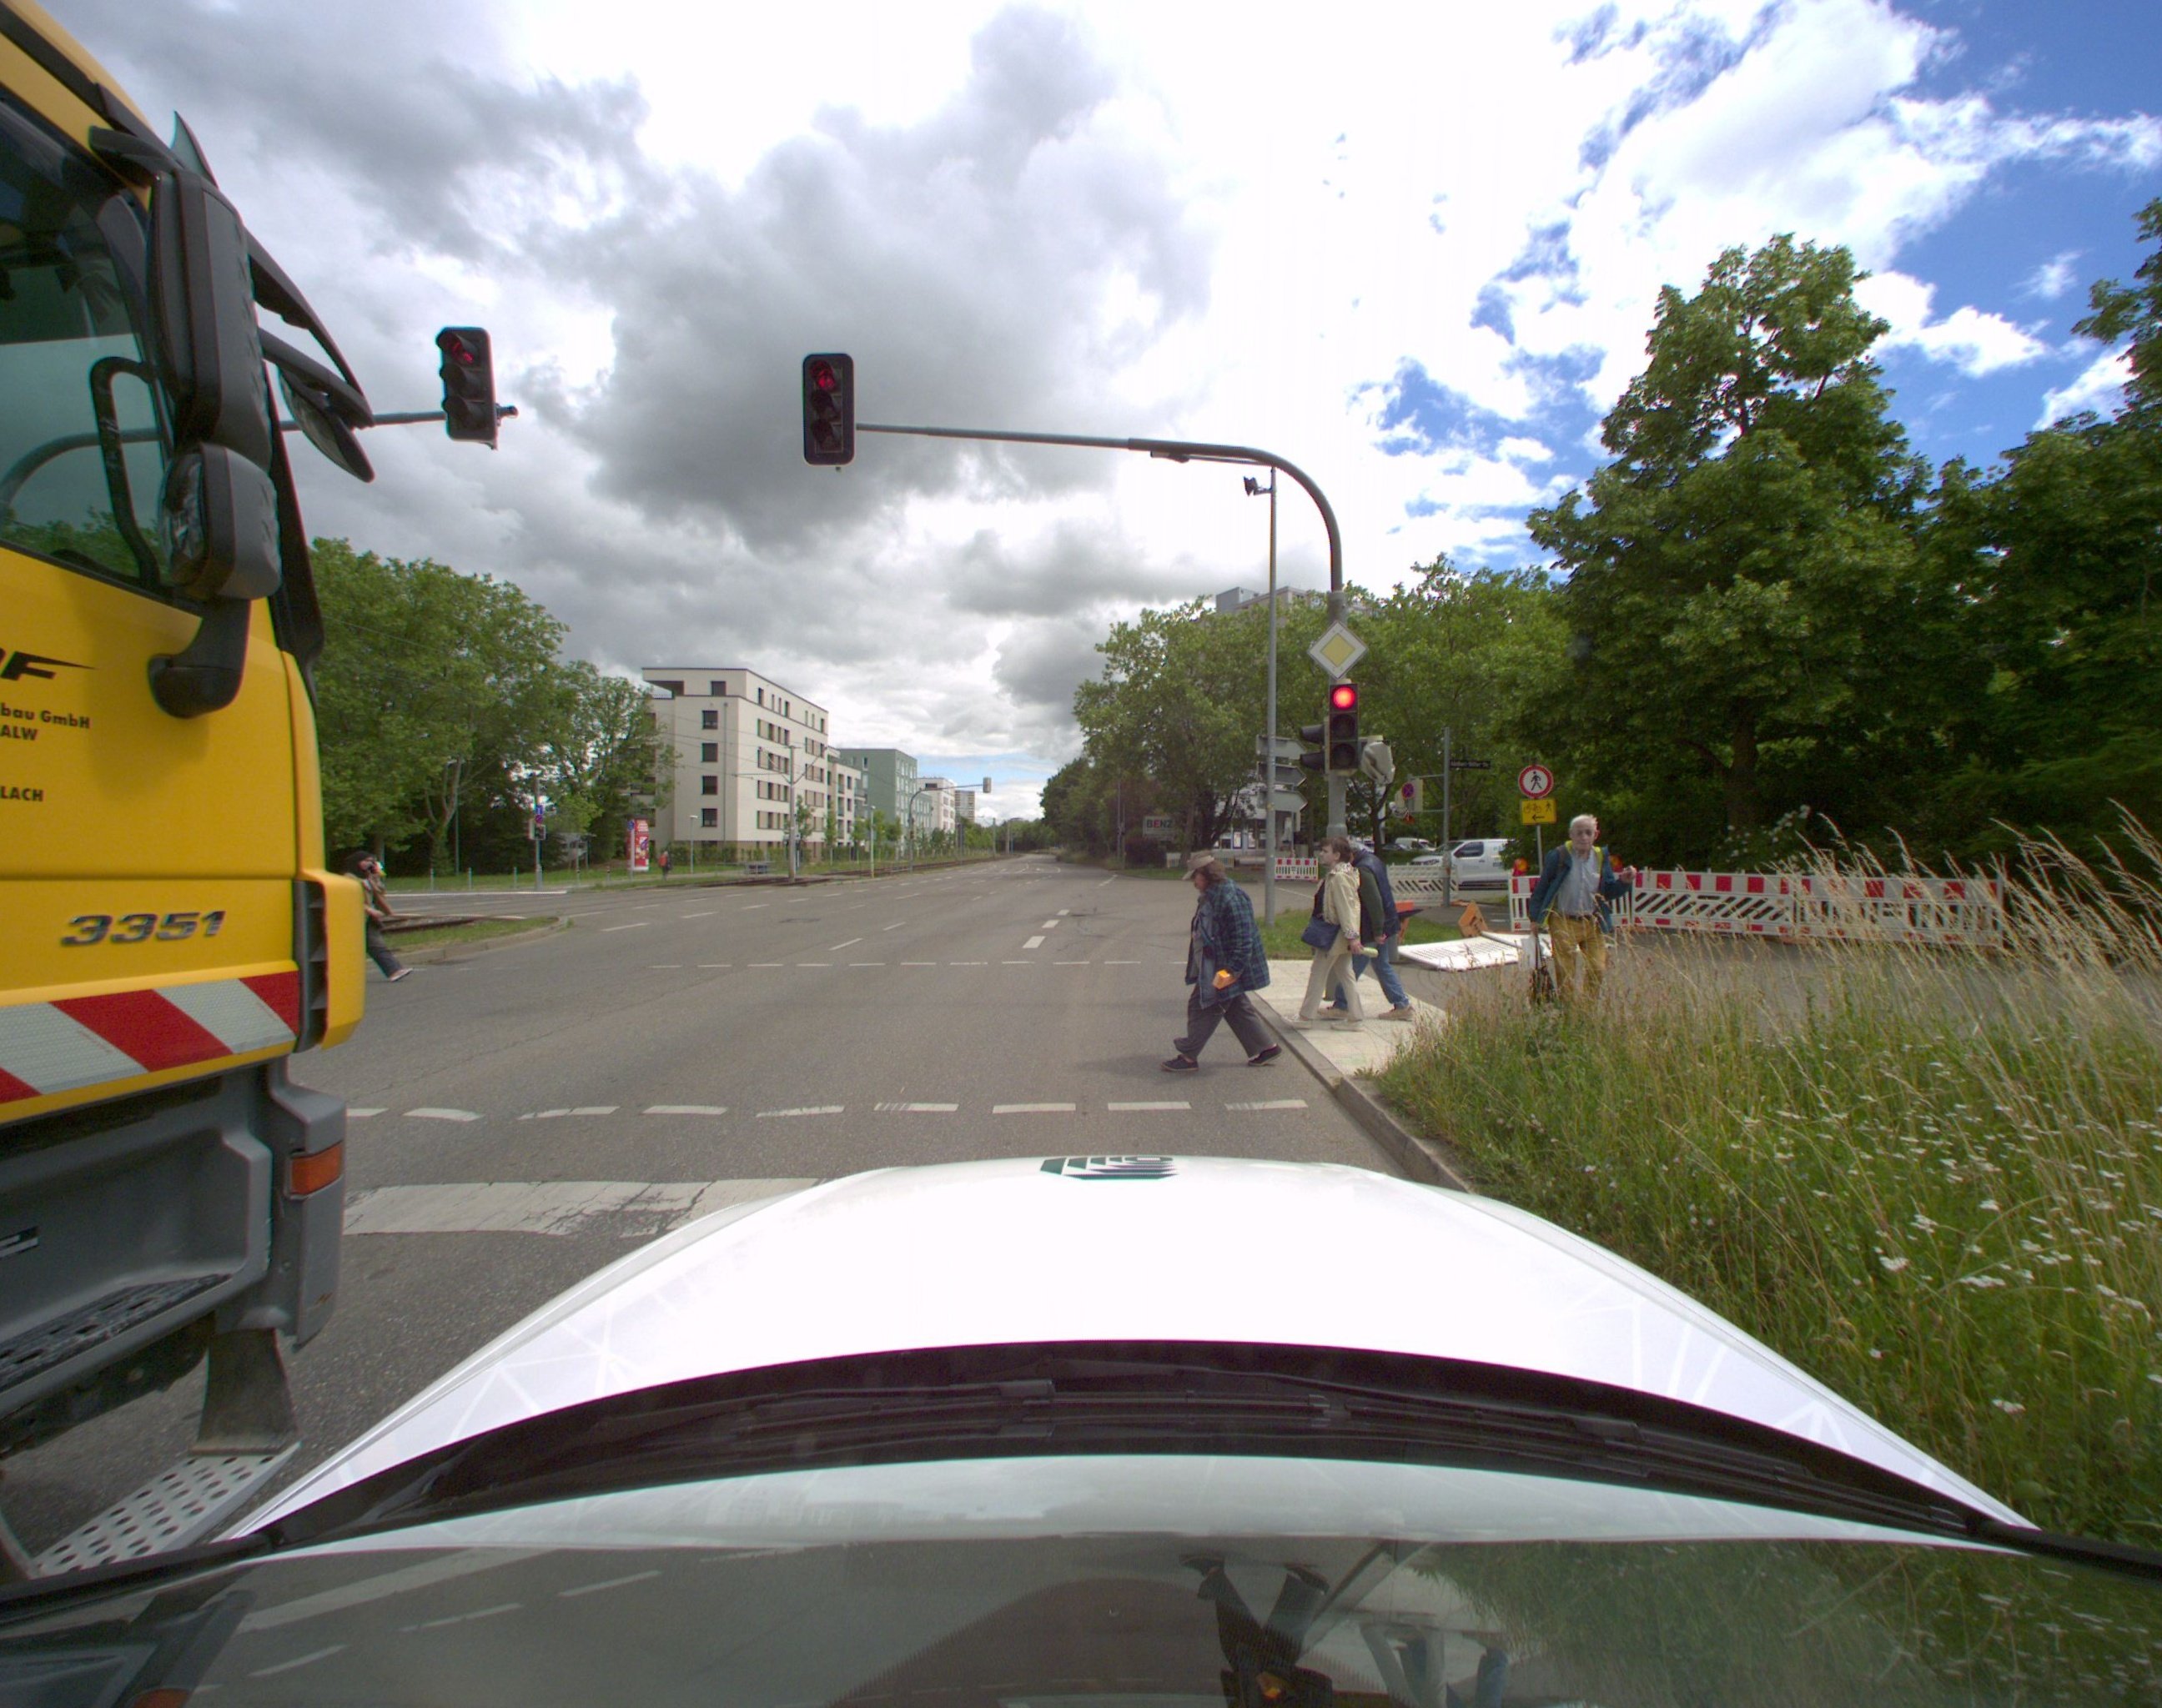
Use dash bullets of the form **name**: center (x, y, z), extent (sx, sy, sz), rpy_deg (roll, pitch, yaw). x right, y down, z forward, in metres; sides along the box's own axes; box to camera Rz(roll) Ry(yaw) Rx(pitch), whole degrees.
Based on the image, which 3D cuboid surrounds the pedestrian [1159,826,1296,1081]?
- **pedestrian**: center (1.002, 0.652, 5.742), extent (0.820, 1.671, 0.733), rpy_deg (-1, 0, -1)

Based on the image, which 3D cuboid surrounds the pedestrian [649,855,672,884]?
- **pedestrian**: center (-21.846, 0.805, 42.352), extent (0.827, 1.516, 0.636), rpy_deg (-1, 0, 1)

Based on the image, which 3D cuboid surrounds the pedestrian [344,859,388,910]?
- **pedestrian**: center (-23.710, 0.998, 27.039), extent (1.075, 1.648, 0.700), rpy_deg (-1, 0, -41)

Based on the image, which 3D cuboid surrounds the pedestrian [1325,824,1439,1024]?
- **pedestrian**: center (2.604, 0.569, 7.133), extent (0.862, 1.634, 0.768), rpy_deg (0, 0, 15)

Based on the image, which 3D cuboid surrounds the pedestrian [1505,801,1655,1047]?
- **pedestrian**: center (3.948, 0.502, 6.542), extent (0.936, 1.774, 1.019), rpy_deg (-1, 0, 27)

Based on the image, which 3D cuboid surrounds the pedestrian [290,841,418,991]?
- **pedestrian**: center (-8.833, 0.726, 9.930), extent (0.779, 1.742, 0.829), rpy_deg (-1, 0, 2)

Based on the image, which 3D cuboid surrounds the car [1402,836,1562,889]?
- **car**: center (14.922, 0.299, 30.463), extent (5.063, 1.874, 1.947), rpy_deg (-1, 0, -2)

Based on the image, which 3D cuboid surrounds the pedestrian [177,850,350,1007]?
- **pedestrian**: center (-8.833, 0.764, 8.849), extent (0.909, 1.607, 0.930), rpy_deg (-1, 0, 2)

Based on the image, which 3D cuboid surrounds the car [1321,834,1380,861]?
- **car**: center (20.569, -0.488, 62.259), extent (2.006, 2.013, 3.962), rpy_deg (-1, 0, -29)

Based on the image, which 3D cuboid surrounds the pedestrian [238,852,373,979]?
- **pedestrian**: center (-10.229, 0.777, 10.776), extent (0.889, 1.596, 0.908), rpy_deg (-1, 0, 2)

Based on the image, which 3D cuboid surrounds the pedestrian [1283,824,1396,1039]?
- **pedestrian**: center (2.089, 0.588, 6.657), extent (0.816, 1.640, 0.736), rpy_deg (0, 0, 15)

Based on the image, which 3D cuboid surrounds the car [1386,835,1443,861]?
- **car**: center (27.314, -0.499, 66.874), extent (2.006, 2.013, 3.962), rpy_deg (-1, 0, -29)

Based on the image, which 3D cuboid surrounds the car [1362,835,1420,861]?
- **car**: center (24.599, -0.495, 64.741), extent (2.006, 2.013, 3.962), rpy_deg (-1, 0, -29)
